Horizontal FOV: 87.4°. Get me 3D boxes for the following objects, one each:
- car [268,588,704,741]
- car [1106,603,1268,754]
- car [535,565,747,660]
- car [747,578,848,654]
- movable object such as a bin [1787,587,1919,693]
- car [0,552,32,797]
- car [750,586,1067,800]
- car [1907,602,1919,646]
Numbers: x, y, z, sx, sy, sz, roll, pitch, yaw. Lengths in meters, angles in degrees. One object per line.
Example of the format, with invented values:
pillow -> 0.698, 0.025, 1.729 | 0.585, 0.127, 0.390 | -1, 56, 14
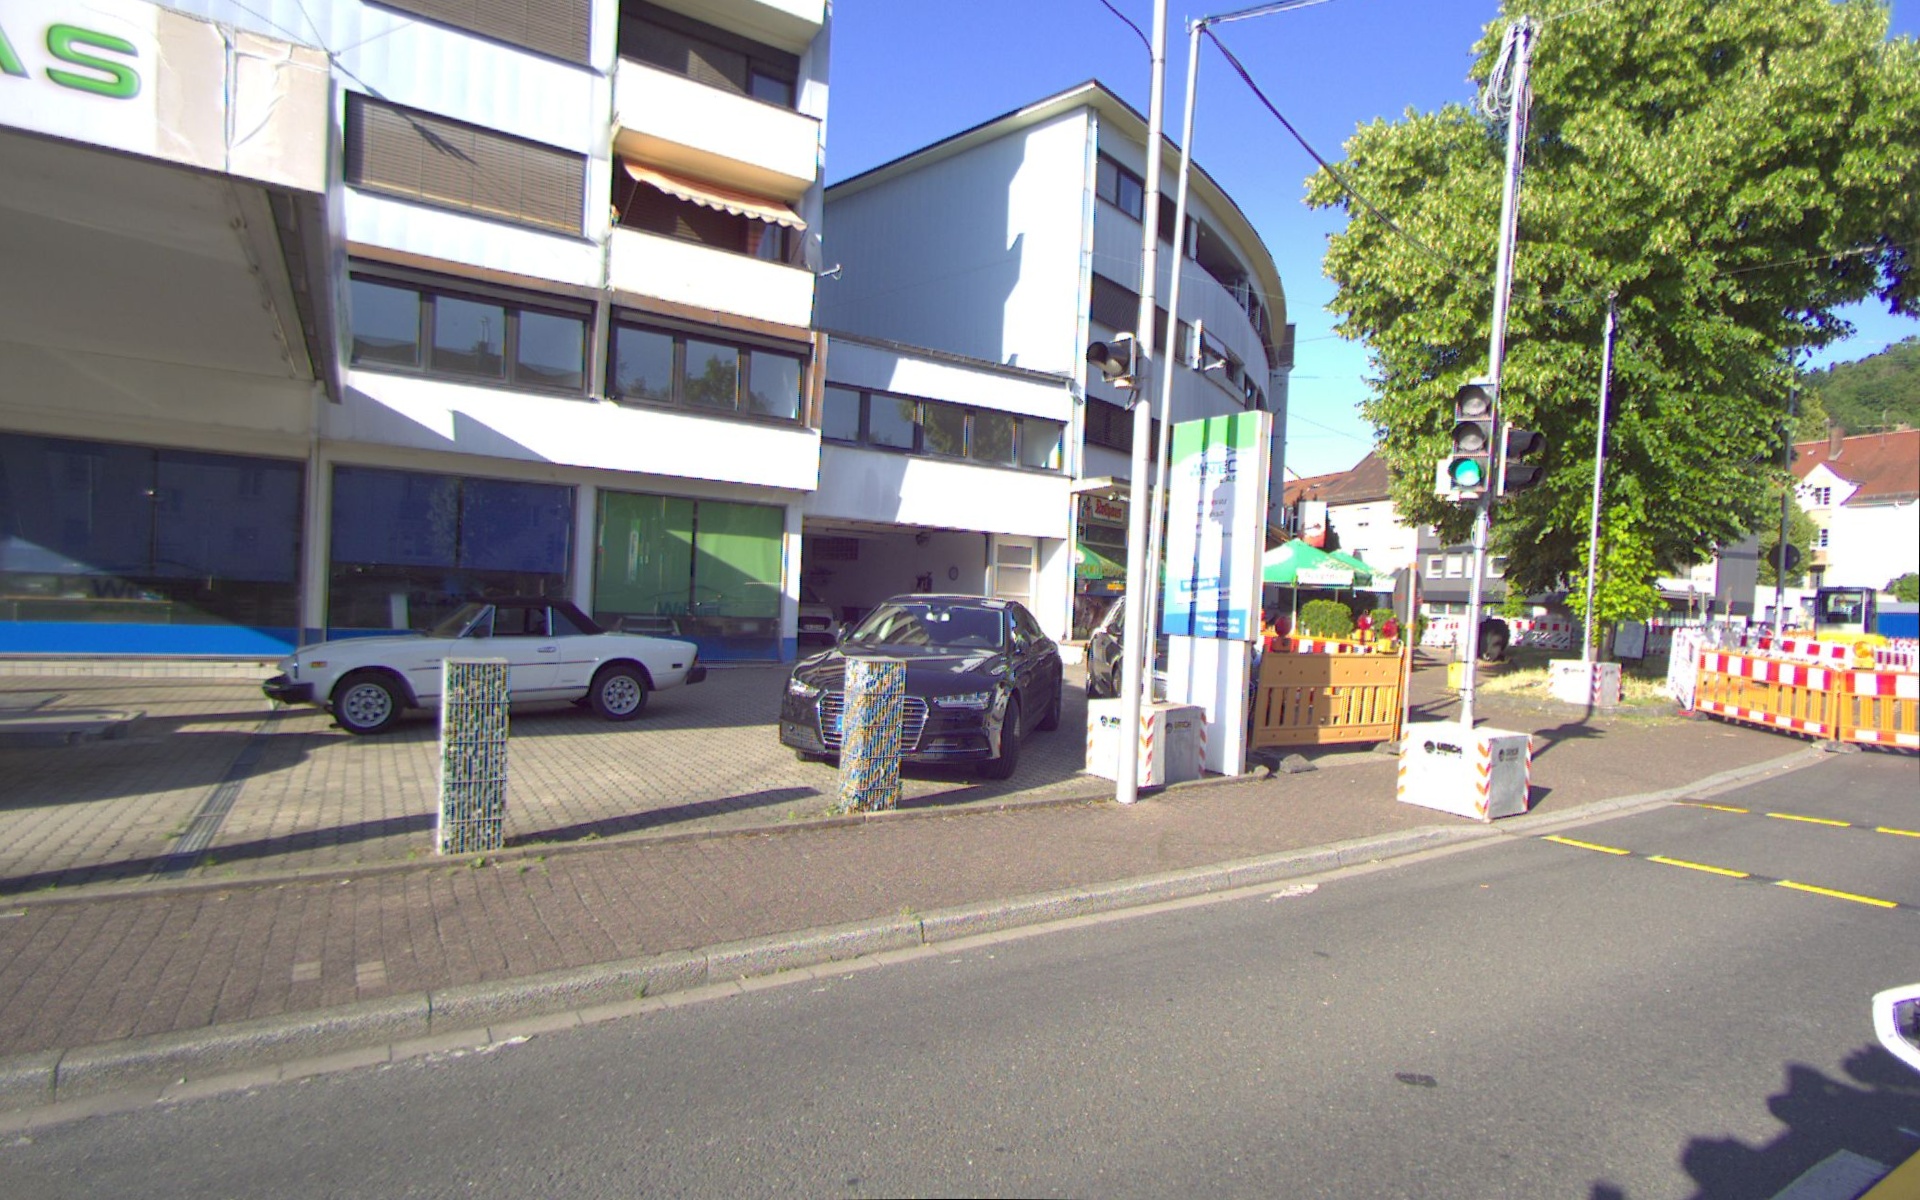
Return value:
car -> -4.797, 0.609, 10.412 | 3.865, 1.315, 1.511 | 2, -1, -35
car -> 2.637, 0.809, 11.999 | 1.564, 1.457, 3.887 | 1, -1, 11
car -> -6.213, 0.268, 19.638 | 3.593, 1.695, 1.707 | 2, 0, -34
car -> -4.003, 0.335, 24.307 | 1.550, 1.629, 3.734 | 2, 1, -23
movable object such as a bin -> 21.452, 0.918, 24.015 | 3.882, 2.355, 1.635 | 2, 0, -36
car -> -7.606, 0.390, 5.787 | 3.305, 1.506, 1.543 | 2, 0, 8
car -> -0.148, 0.687, 9.492 | 1.893, 1.457, 4.692 | 1, -1, 11
car -> 49.410, 1.262, 48.363 | 6.043, 2.149, 2.586 | 2, 0, -12
